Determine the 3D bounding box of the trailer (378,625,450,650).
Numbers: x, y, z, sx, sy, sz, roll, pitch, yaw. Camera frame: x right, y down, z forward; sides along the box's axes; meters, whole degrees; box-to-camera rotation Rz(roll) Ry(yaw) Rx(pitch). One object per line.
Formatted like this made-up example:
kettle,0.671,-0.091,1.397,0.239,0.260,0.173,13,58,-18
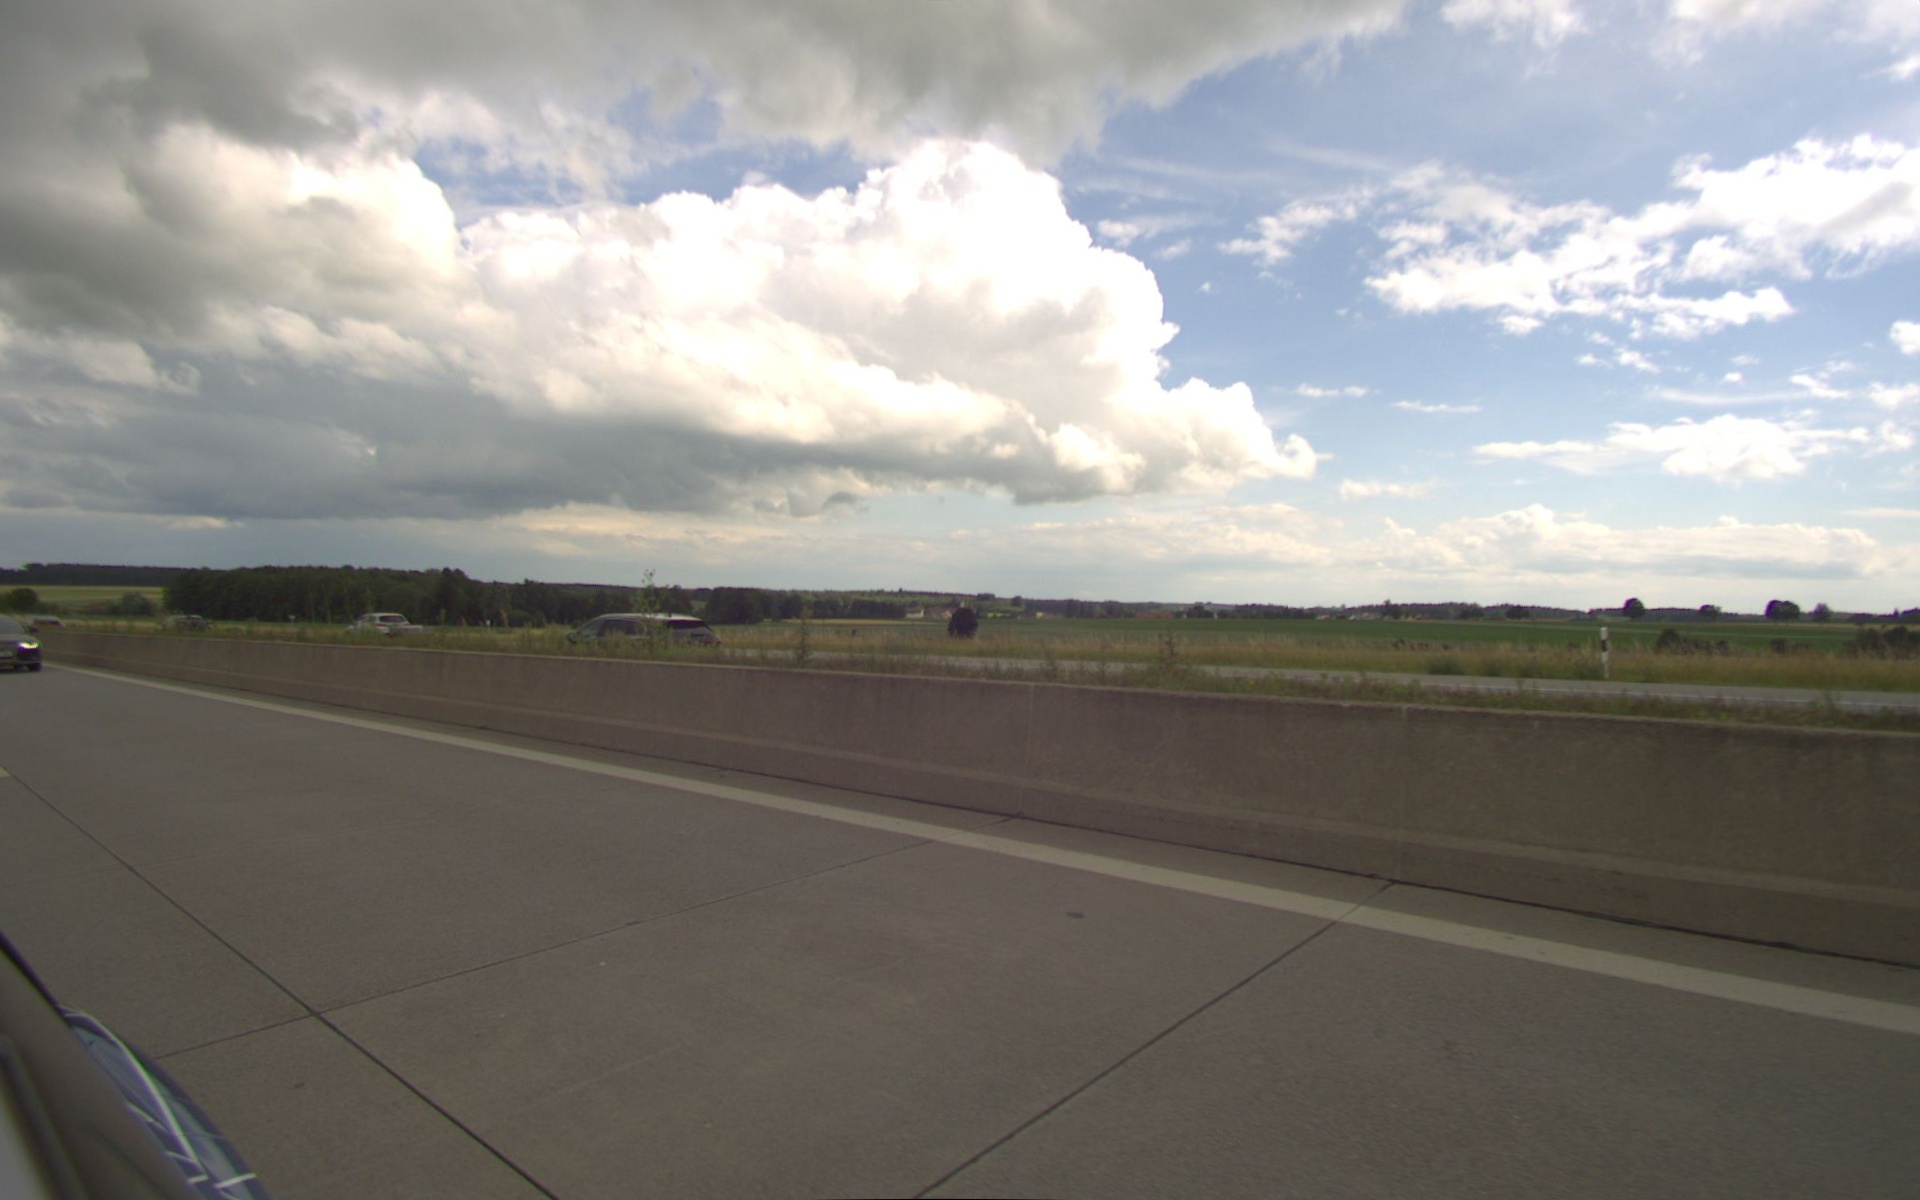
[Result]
trailer,-25.245,1.724,46.765,3.561,0.990,1.768,0,0,41

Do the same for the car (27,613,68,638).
car,-63.291,1.760,70.152,4.175,1.615,1.593,0,0,41

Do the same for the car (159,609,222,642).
car,-42.717,1.399,56.143,4.672,1.706,1.882,0,0,41

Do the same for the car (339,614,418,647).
car,-28.458,1.446,49.479,4.847,1.481,1.878,0,0,41

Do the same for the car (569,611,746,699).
car,-6.146,1.024,20.392,3.768,1.567,1.695,0,0,41

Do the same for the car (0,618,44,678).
car,-25.490,1.231,26.451,3.999,1.484,1.914,-1,-1,42
